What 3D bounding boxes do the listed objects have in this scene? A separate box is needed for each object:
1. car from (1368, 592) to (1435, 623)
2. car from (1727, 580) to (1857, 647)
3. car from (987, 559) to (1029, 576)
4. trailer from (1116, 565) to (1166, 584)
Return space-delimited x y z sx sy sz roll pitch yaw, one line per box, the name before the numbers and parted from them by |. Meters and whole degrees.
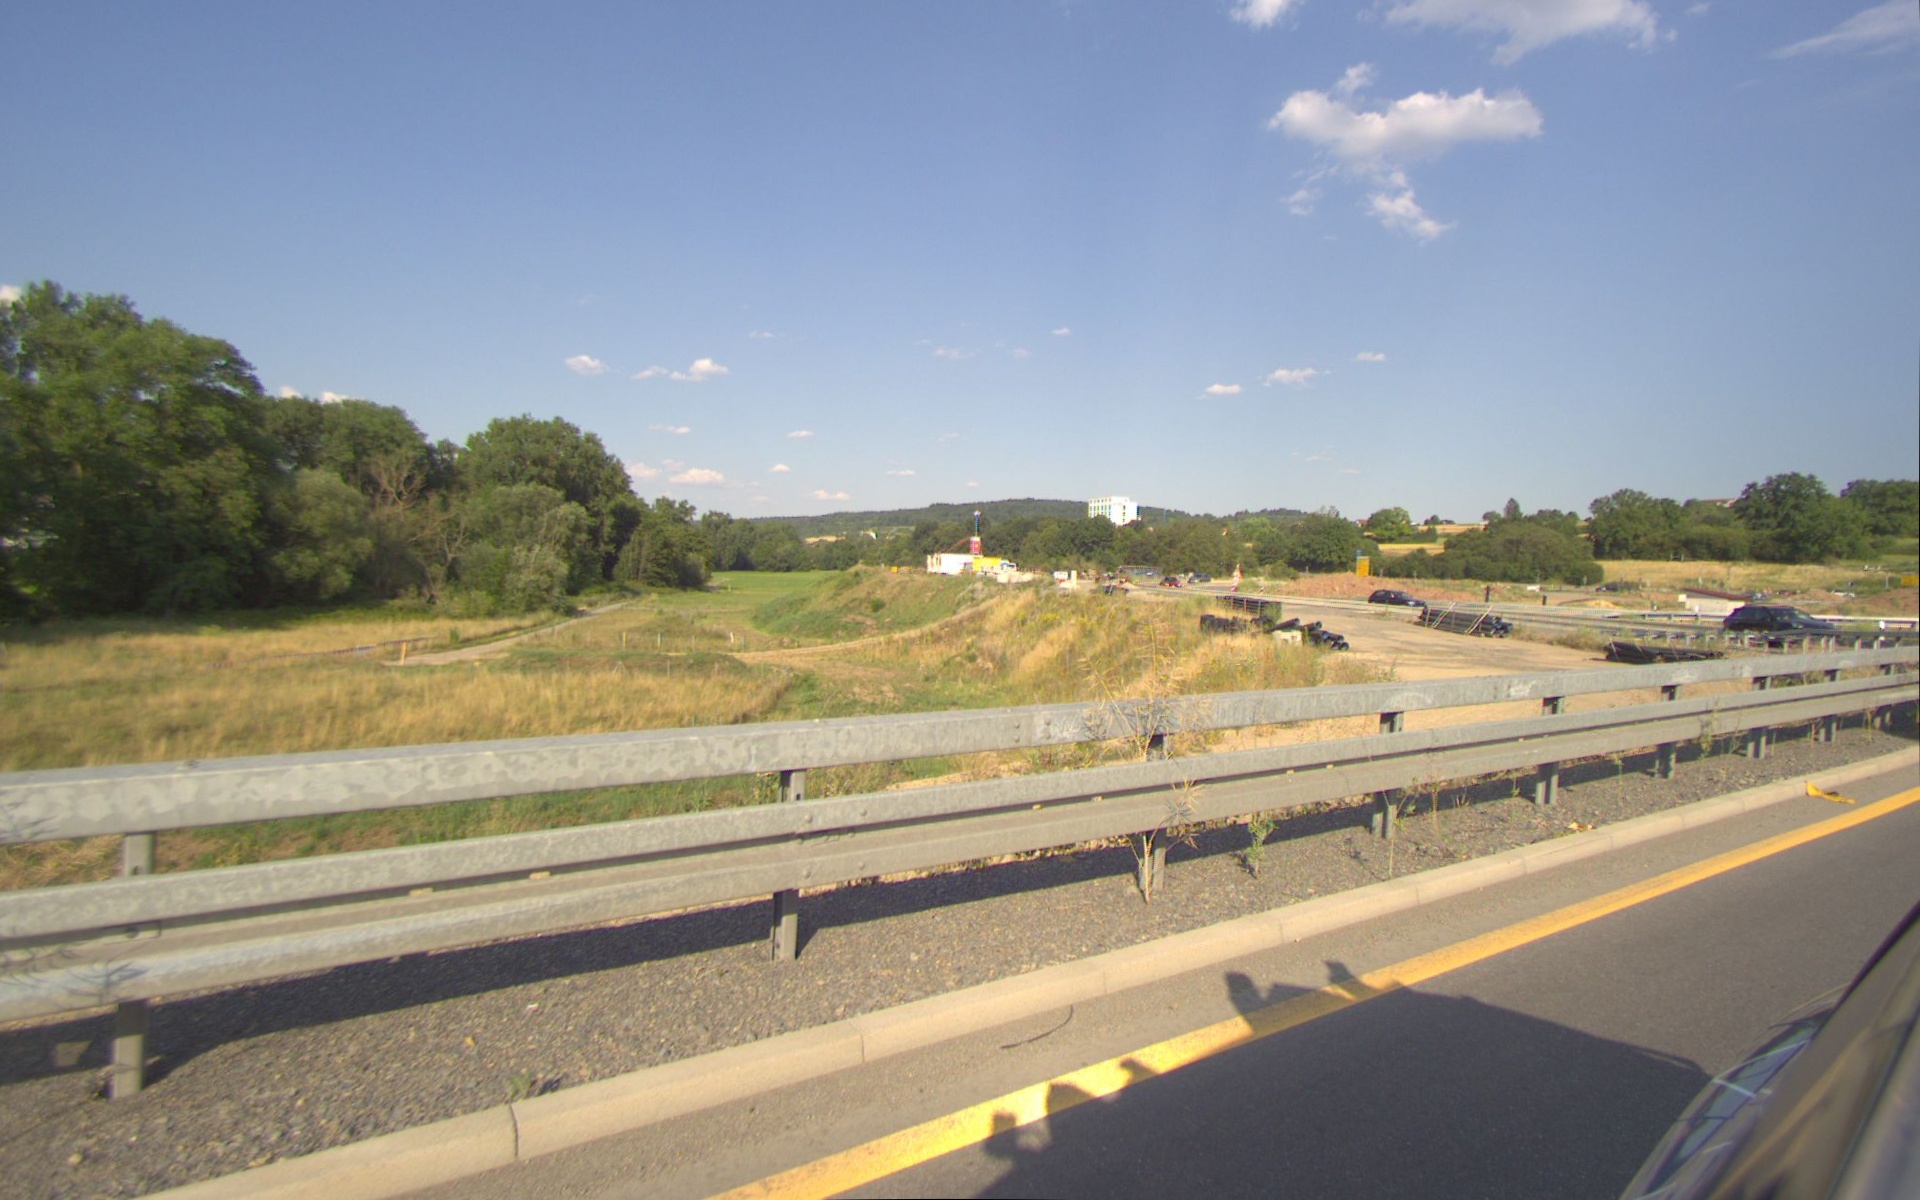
car | 30.212 0.500 69.362 1.603 1.808 4.136 0 3 -25
car | 34.519 0.497 42.145 1.840 2.432 4.005 2 3 -3
car | 6.678 -4.483 140.262 5.208 2.104 2.494 1 3 -22
trailer | 24.491 -3.471 136.831 7.107 2.443 3.008 -1 3 -43
